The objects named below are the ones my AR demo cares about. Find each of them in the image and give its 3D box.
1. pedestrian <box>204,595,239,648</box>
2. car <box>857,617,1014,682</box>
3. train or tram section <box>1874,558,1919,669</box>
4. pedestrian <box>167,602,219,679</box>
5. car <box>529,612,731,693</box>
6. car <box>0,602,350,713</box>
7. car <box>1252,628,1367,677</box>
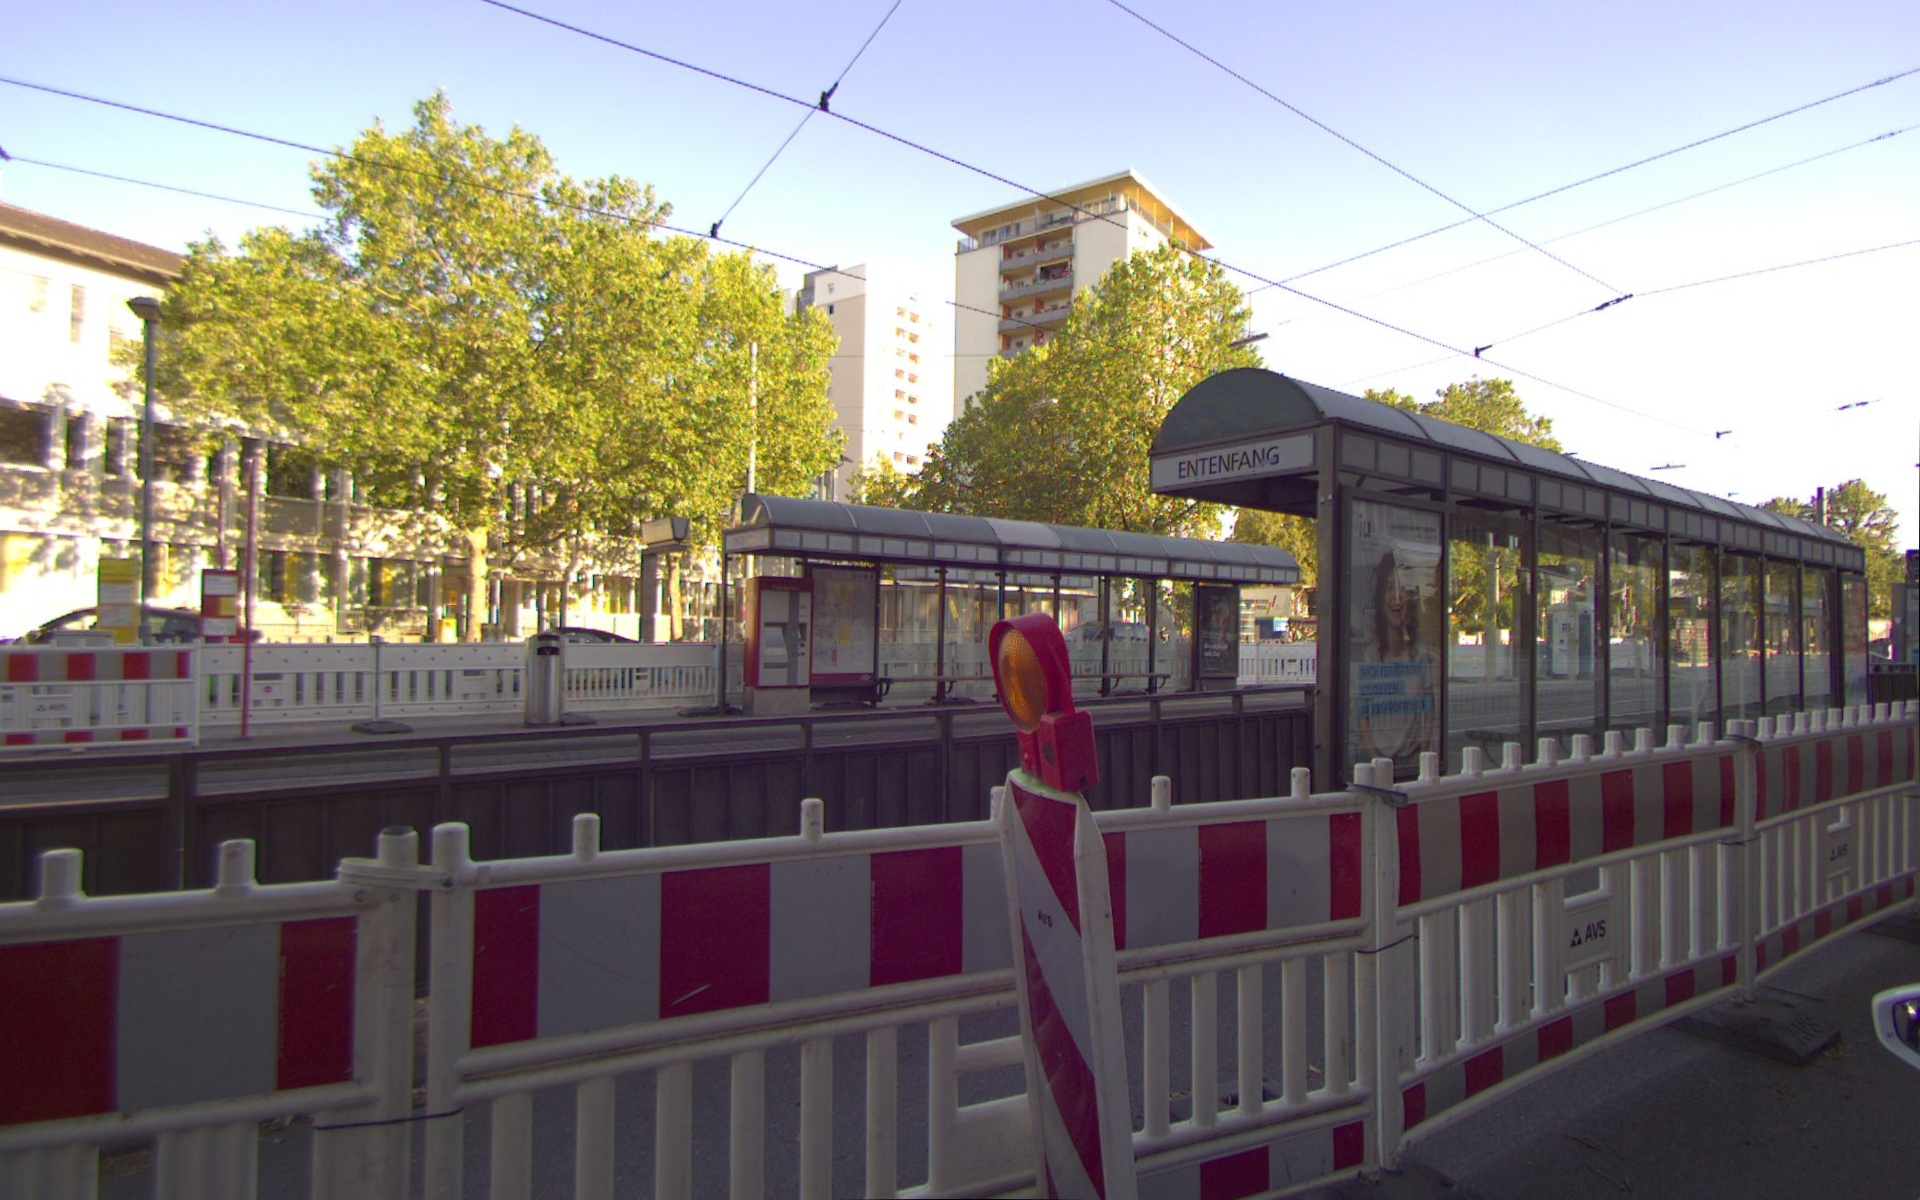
[{"bbox_3d":[-20.604,0.602,28.025,0.576,1.474,0.584,0,-2,31],"label":"pedestrian"},{"bbox_3d":[-0.651,1.349,27.841,3.959,1.683,1.901,2,-2,-34],"label":"car"},{"bbox_3d":[35.834,0.616,35.618,11.656,3.580,2.668,2,0,-36],"label":"train or tram section"},{"bbox_3d":[-18.997,0.999,24.874,0.921,1.858,0.691,2,-2,-43],"label":"pedestrian"},{"bbox_3d":[-7.421,1.157,22.656,3.958,1.683,1.982,2,-2,-33],"label":"car"},{"bbox_3d":[-13.196,0.947,17.311,4.511,1.683,1.982,2,-2,-34],"label":"car"},{"bbox_3d":[12.665,1.883,36.335,3.958,1.683,1.982,2,-2,-33],"label":"car"}]
